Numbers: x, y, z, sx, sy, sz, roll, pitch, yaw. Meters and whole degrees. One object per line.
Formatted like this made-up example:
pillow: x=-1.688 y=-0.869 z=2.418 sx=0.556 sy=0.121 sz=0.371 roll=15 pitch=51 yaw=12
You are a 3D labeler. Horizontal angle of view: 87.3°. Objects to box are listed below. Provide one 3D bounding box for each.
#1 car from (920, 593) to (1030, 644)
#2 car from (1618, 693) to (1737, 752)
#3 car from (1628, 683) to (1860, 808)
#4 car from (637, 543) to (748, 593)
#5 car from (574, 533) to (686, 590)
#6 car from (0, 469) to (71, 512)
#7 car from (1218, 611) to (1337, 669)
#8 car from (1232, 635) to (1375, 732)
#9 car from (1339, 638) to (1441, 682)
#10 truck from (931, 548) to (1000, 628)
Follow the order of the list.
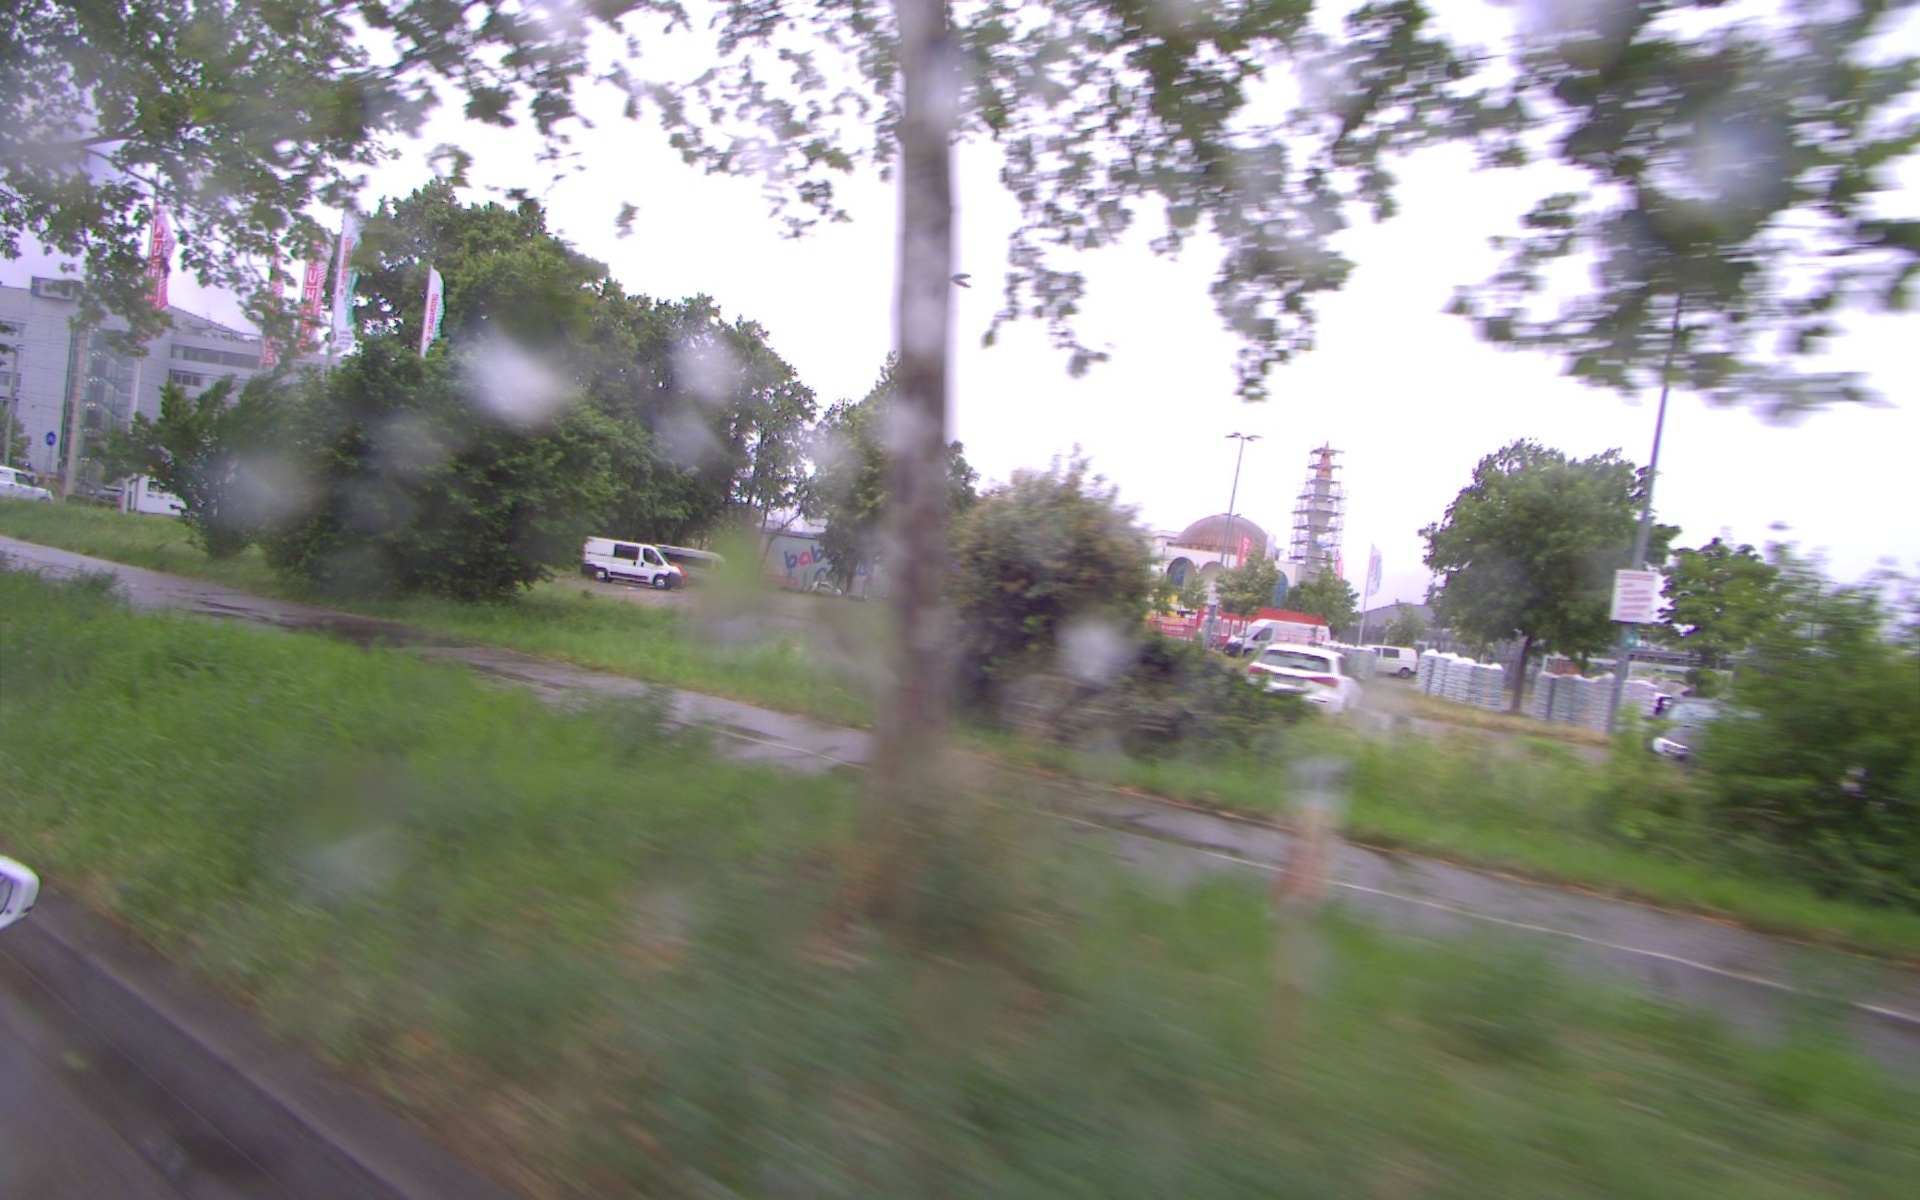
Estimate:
car: x=0.518 y=0.716 z=38.176 sx=3.928 sy=1.380 sz=2.000 roll=7 pitch=-2 yaw=-3
car: x=35.905 y=6.097 z=50.551 sx=2.044 sy=2.229 sz=5.156 roll=5 pitch=-1 yaw=-1
car: x=11.744 y=2.117 z=15.398 sx=1.965 sy=1.380 sz=3.998 roll=6 pitch=-2 yaw=27
car: x=-18.057 y=-2.114 z=68.268 sx=6.703 sy=2.464 sz=2.327 roll=7 pitch=0 yaw=-4
car: x=-16.257 y=-1.869 z=49.823 sx=4.833 sy=2.180 sz=1.803 roll=7 pitch=0 yaw=-9
car: x=-42.286 y=-4.982 z=44.495 sx=1.768 sy=1.556 sz=4.388 roll=7 pitch=0 yaw=3
car: x=17.111 y=2.151 z=54.349 sx=5.572 sy=2.362 sz=1.999 roll=7 pitch=-1 yaw=-6
car: x=6.456 y=1.558 z=18.643 sx=1.836 sy=1.380 sz=3.998 roll=6 pitch=-2 yaw=27
car: x=28.137 y=3.904 z=65.961 sx=5.563 sy=2.168 sz=2.002 roll=7 pitch=-1 yaw=5
truck: x=0.186 y=-0.617 z=57.320 sx=2.950 sy=3.856 sz=8.284 roll=7 pitch=-1 yaw=-4
